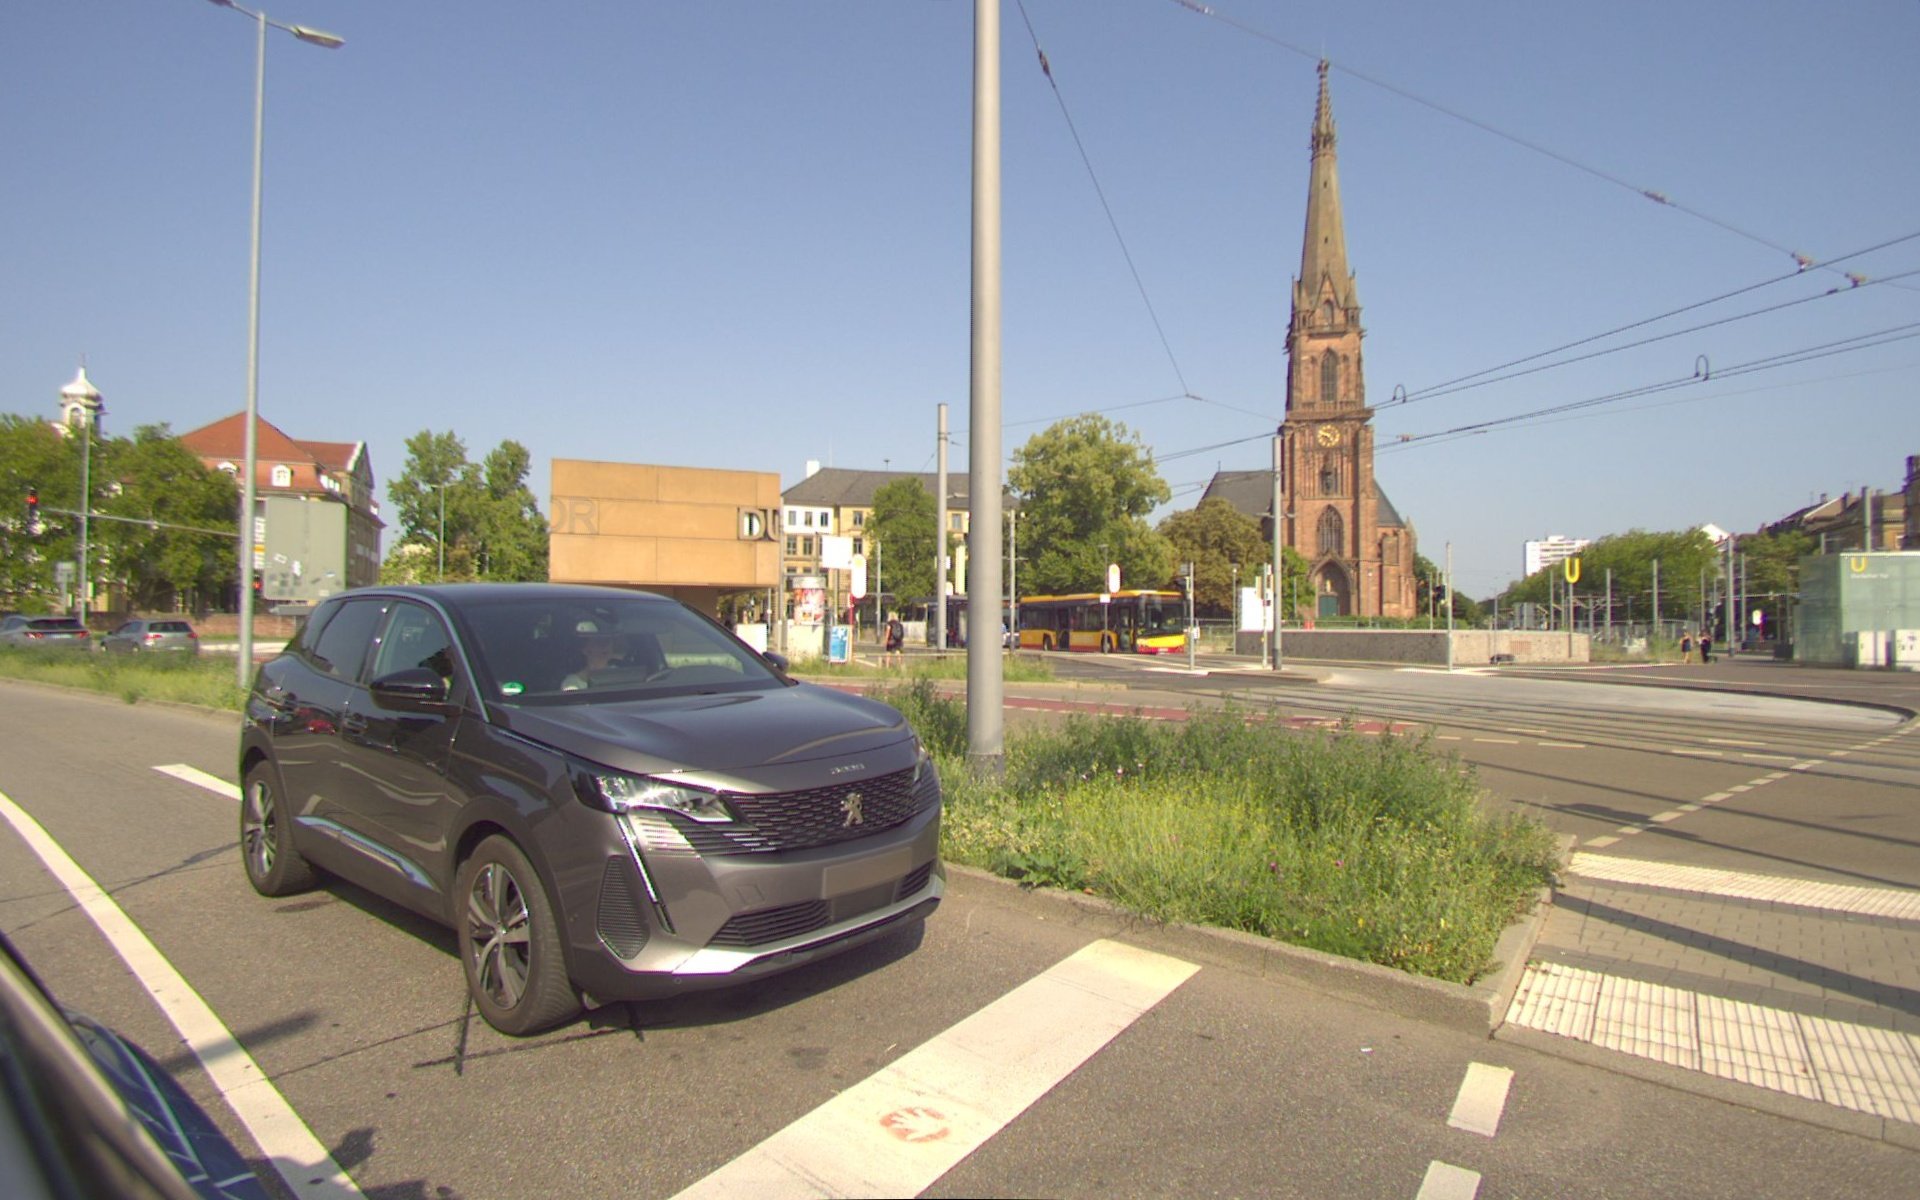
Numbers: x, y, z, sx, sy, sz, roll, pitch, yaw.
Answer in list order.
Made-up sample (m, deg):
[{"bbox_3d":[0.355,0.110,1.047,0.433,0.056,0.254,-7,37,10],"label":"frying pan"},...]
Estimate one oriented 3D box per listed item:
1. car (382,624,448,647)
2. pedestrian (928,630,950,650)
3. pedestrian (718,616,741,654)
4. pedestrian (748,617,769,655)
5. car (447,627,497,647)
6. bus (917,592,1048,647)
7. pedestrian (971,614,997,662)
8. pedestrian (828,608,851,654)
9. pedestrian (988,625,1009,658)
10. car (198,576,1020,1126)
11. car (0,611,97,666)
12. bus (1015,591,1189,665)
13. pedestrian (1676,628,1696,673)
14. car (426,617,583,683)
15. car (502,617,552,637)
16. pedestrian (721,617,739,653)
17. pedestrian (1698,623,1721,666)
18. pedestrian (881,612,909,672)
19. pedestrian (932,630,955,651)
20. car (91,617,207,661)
[{"bbox_3d":[-40.156,2.643,74.701,1.978,1.646,4.357,0,-2,10],"label":"car"},{"bbox_3d":[-1.181,2.234,56.462,1.013,1.142,0.740,1,-2,-30],"label":"pedestrian"},{"bbox_3d":[-10.469,1.592,45.986,0.851,1.718,0.734,1,-2,-26],"label":"pedestrian"},{"bbox_3d":[-8.899,1.601,44.698,0.707,1.642,0.859,1,-2,-23],"label":"pedestrian"},{"bbox_3d":[-39.063,2.923,81.095,1.608,1.509,3.838,0,-1,10],"label":"car"},{"bbox_3d":[1.051,1.271,62.143,3.242,3.000,12.838,1,-2,-22],"label":"bus"},{"bbox_3d":[0.911,1.465,38.738,0.699,1.814,0.771,-1,-2,33],"label":"pedestrian"},{"bbox_3d":[-4.818,1.242,40.451,0.689,1.814,0.782,1,-2,-24],"label":"pedestrian"},{"bbox_3d":[2.093,2.220,54.697,0.816,1.752,0.838,1,-2,-24],"label":"pedestrian"},{"bbox_3d":[-1.963,0.745,4.826,4.368,1.503,1.666,-1,-2,39],"label":"car"},{"bbox_3d":[-29.367,1.199,32.001,4.442,1.629,1.683,-1,-2,29],"label":"car"},{"bbox_3d":[6.472,1.369,49.309,2.669,3.132,12.254,1,-2,-22],"label":"bus"},{"bbox_3d":[30.727,2.147,42.827,0.652,1.880,0.712,-1,-2,37],"label":"pedestrian"},{"bbox_3d":[-10.967,1.162,24.301,3.668,1.463,1.872,-1,-2,36],"label":"car"},{"bbox_3d":[-37.315,2.354,87.390,1.977,1.646,4.360,0,-2,9],"label":"car"},{"bbox_3d":[-11.202,1.690,49.313,0.707,1.751,0.859,1,-2,-23],"label":"pedestrian"},{"bbox_3d":[31.396,1.860,42.399,0.751,1.796,0.698,-1,-2,37],"label":"pedestrian"},{"bbox_3d":[-2.028,1.299,31.445,0.689,1.814,0.782,1,-2,-18],"label":"pedestrian"},{"bbox_3d":[-0.897,2.235,55.636,1.013,1.142,0.740,1,-2,-30],"label":"pedestrian"},{"bbox_3d":[-28.030,1.313,34.938,4.210,1.444,1.800,-1,-2,32],"label":"car"}]
